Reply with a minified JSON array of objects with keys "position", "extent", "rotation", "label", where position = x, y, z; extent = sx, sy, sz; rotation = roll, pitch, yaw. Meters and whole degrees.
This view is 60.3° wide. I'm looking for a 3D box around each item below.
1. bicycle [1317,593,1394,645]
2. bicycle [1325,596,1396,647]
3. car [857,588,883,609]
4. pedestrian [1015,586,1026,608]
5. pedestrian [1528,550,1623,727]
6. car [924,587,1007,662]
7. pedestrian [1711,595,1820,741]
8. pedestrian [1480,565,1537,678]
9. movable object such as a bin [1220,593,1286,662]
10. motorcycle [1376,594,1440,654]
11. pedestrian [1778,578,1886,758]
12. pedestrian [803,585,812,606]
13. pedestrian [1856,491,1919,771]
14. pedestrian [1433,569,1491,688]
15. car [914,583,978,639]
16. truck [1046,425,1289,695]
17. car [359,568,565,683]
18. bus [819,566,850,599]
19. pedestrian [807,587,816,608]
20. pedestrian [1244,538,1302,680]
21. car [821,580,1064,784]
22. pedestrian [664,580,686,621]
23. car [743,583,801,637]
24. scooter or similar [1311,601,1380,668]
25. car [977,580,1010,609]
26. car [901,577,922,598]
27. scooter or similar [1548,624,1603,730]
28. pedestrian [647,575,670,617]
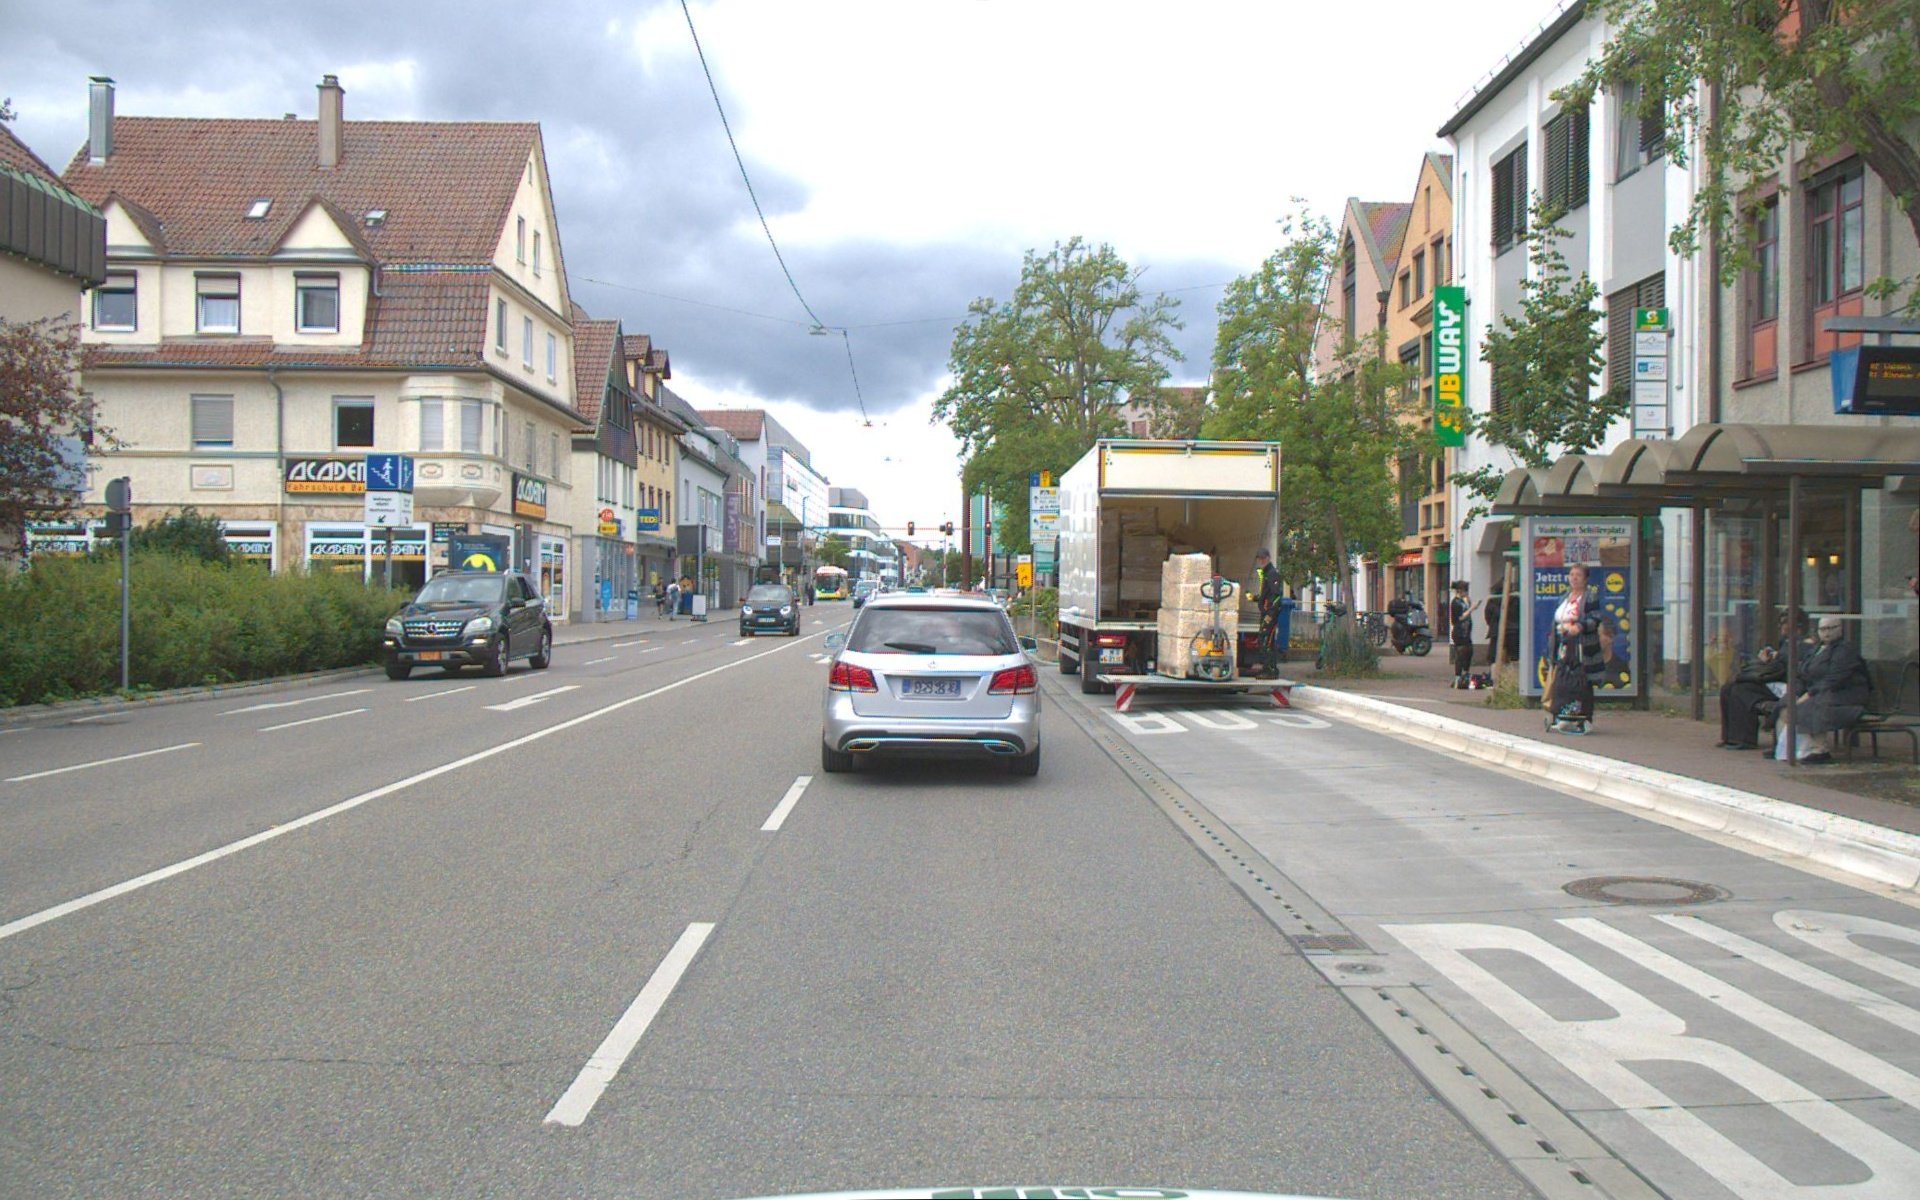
[{"position":[10.368,0.500,43.395],"extent":[1.780,1.350,0.843],"rotation":[0,0,-4],"label":"bicycle"},{"position":[10.290,0.542,42.498],"extent":[1.641,1.281,0.669],"rotation":[0,0,-5],"label":"bicycle"},{"position":[-6.341,-0.105,116.291],"extent":[1.584,1.453,3.922],"rotation":[0,0,0],"label":"car"},{"position":[4.695,-0.258,128.365],"extent":[0.602,1.663,0.587],"rotation":[3,0,-9],"label":"pedestrian"},{"position":[5.945,0.364,15.997],"extent":[0.528,1.663,0.583],"rotation":[3,0,-25],"label":"pedestrian"},{"position":[0.103,0.501,36.170],"extent":[1.718,1.547,3.999],"rotation":[0,0,-1],"label":"car"},{"position":[7.162,0.598,14.727],"extent":[0.685,1.254,0.588],"rotation":[-2,0,8],"label":"pedestrian"},{"position":[8.080,0.313,24.352],"extent":[0.578,1.640,0.610],"rotation":[-1,-1,45],"label":"pedestrian"},{"position":[5.934,0.544,33.547],"extent":[1.120,1.363,1.376],"rotation":[0,0,1],"label":"movable object such as a bin"},{"position":[9.982,0.512,36.912],"extent":[0.722,1.293,2.106],"rotation":[0,0,-5],"label":"motorcycle"},{"position":[7.062,0.543,13.420],"extent":[0.600,1.425,0.588],"rotation":[-2,-1,12],"label":"pedestrian"},{"position":[-11.935,-0.350,129.336],"extent":[0.601,1.663,0.588],"rotation":[3,0,-2],"label":"pedestrian"},{"position":[7.273,0.229,12.591],"extent":[0.600,2.083,0.588],"rotation":[-2,-1,12],"label":"pedestrian"},{"position":[7.677,0.434,25.306],"extent":[0.601,1.770,0.587],"rotation":[3,0,-5],"label":"pedestrian"},{"position":[-0.434,0.322,53.016],"extent":[1.953,1.713,4.000],"rotation":[0,0,0],"label":"car"},{"position":[3.055,-0.580,27.216],"extent":[2.634,3.623,9.765],"rotation":[0,0,-1],"label":"truck"},{"position":[-8.453,0.387,28.568],"extent":[2.026,1.769,4.693],"rotation":[-2,0,1],"label":"car"},{"position":[-12.716,-1.753,167.878],"extent":[2.718,3.220,5.932],"rotation":[0,0,0],"label":"bus"},{"position":[-11.520,-0.197,128.516],"extent":[0.601,1.663,0.588],"rotation":[3,0,-2],"label":"pedestrian"},{"position":[4.072,0.118,21.538],"extent":[0.601,1.811,0.587],"rotation":[0,-1,-4],"label":"pedestrian"},{"position":[-0.213,0.623,14.649],"extent":[1.837,1.532,3.998],"rotation":[1,0,-2],"label":"car"},{"position":[-11.970,0.020,69.499],"extent":[0.801,1.663,0.979],"rotation":[2,0,-6],"label":"pedestrian"},{"position":[-5.690,0.286,50.264],"extent":[1.539,1.567,2.959],"rotation":[0,0,-3],"label":"car"},{"position":[7.088,0.629,30.381],"extent":[1.154,1.217,0.459],"rotation":[0,0,-10],"label":"scooter or similar"},{"position":[2.048,-0.345,103.080],"extent":[1.953,1.713,4.000],"rotation":[0,0,0],"label":"car"},{"position":[-4.781,-1.205,163.949],"extent":[1.953,2.049,3.999],"rotation":[0,0,-1],"label":"car"},{"position":[5.813,0.721,15.626],"extent":[0.382,0.976,0.350],"rotation":[0,0,-42],"label":"scooter or similar"},{"position":[-13.096,-0.182,71.870],"extent":[0.850,1.777,0.805],"rotation":[3,0,-5],"label":"pedestrian"}]
